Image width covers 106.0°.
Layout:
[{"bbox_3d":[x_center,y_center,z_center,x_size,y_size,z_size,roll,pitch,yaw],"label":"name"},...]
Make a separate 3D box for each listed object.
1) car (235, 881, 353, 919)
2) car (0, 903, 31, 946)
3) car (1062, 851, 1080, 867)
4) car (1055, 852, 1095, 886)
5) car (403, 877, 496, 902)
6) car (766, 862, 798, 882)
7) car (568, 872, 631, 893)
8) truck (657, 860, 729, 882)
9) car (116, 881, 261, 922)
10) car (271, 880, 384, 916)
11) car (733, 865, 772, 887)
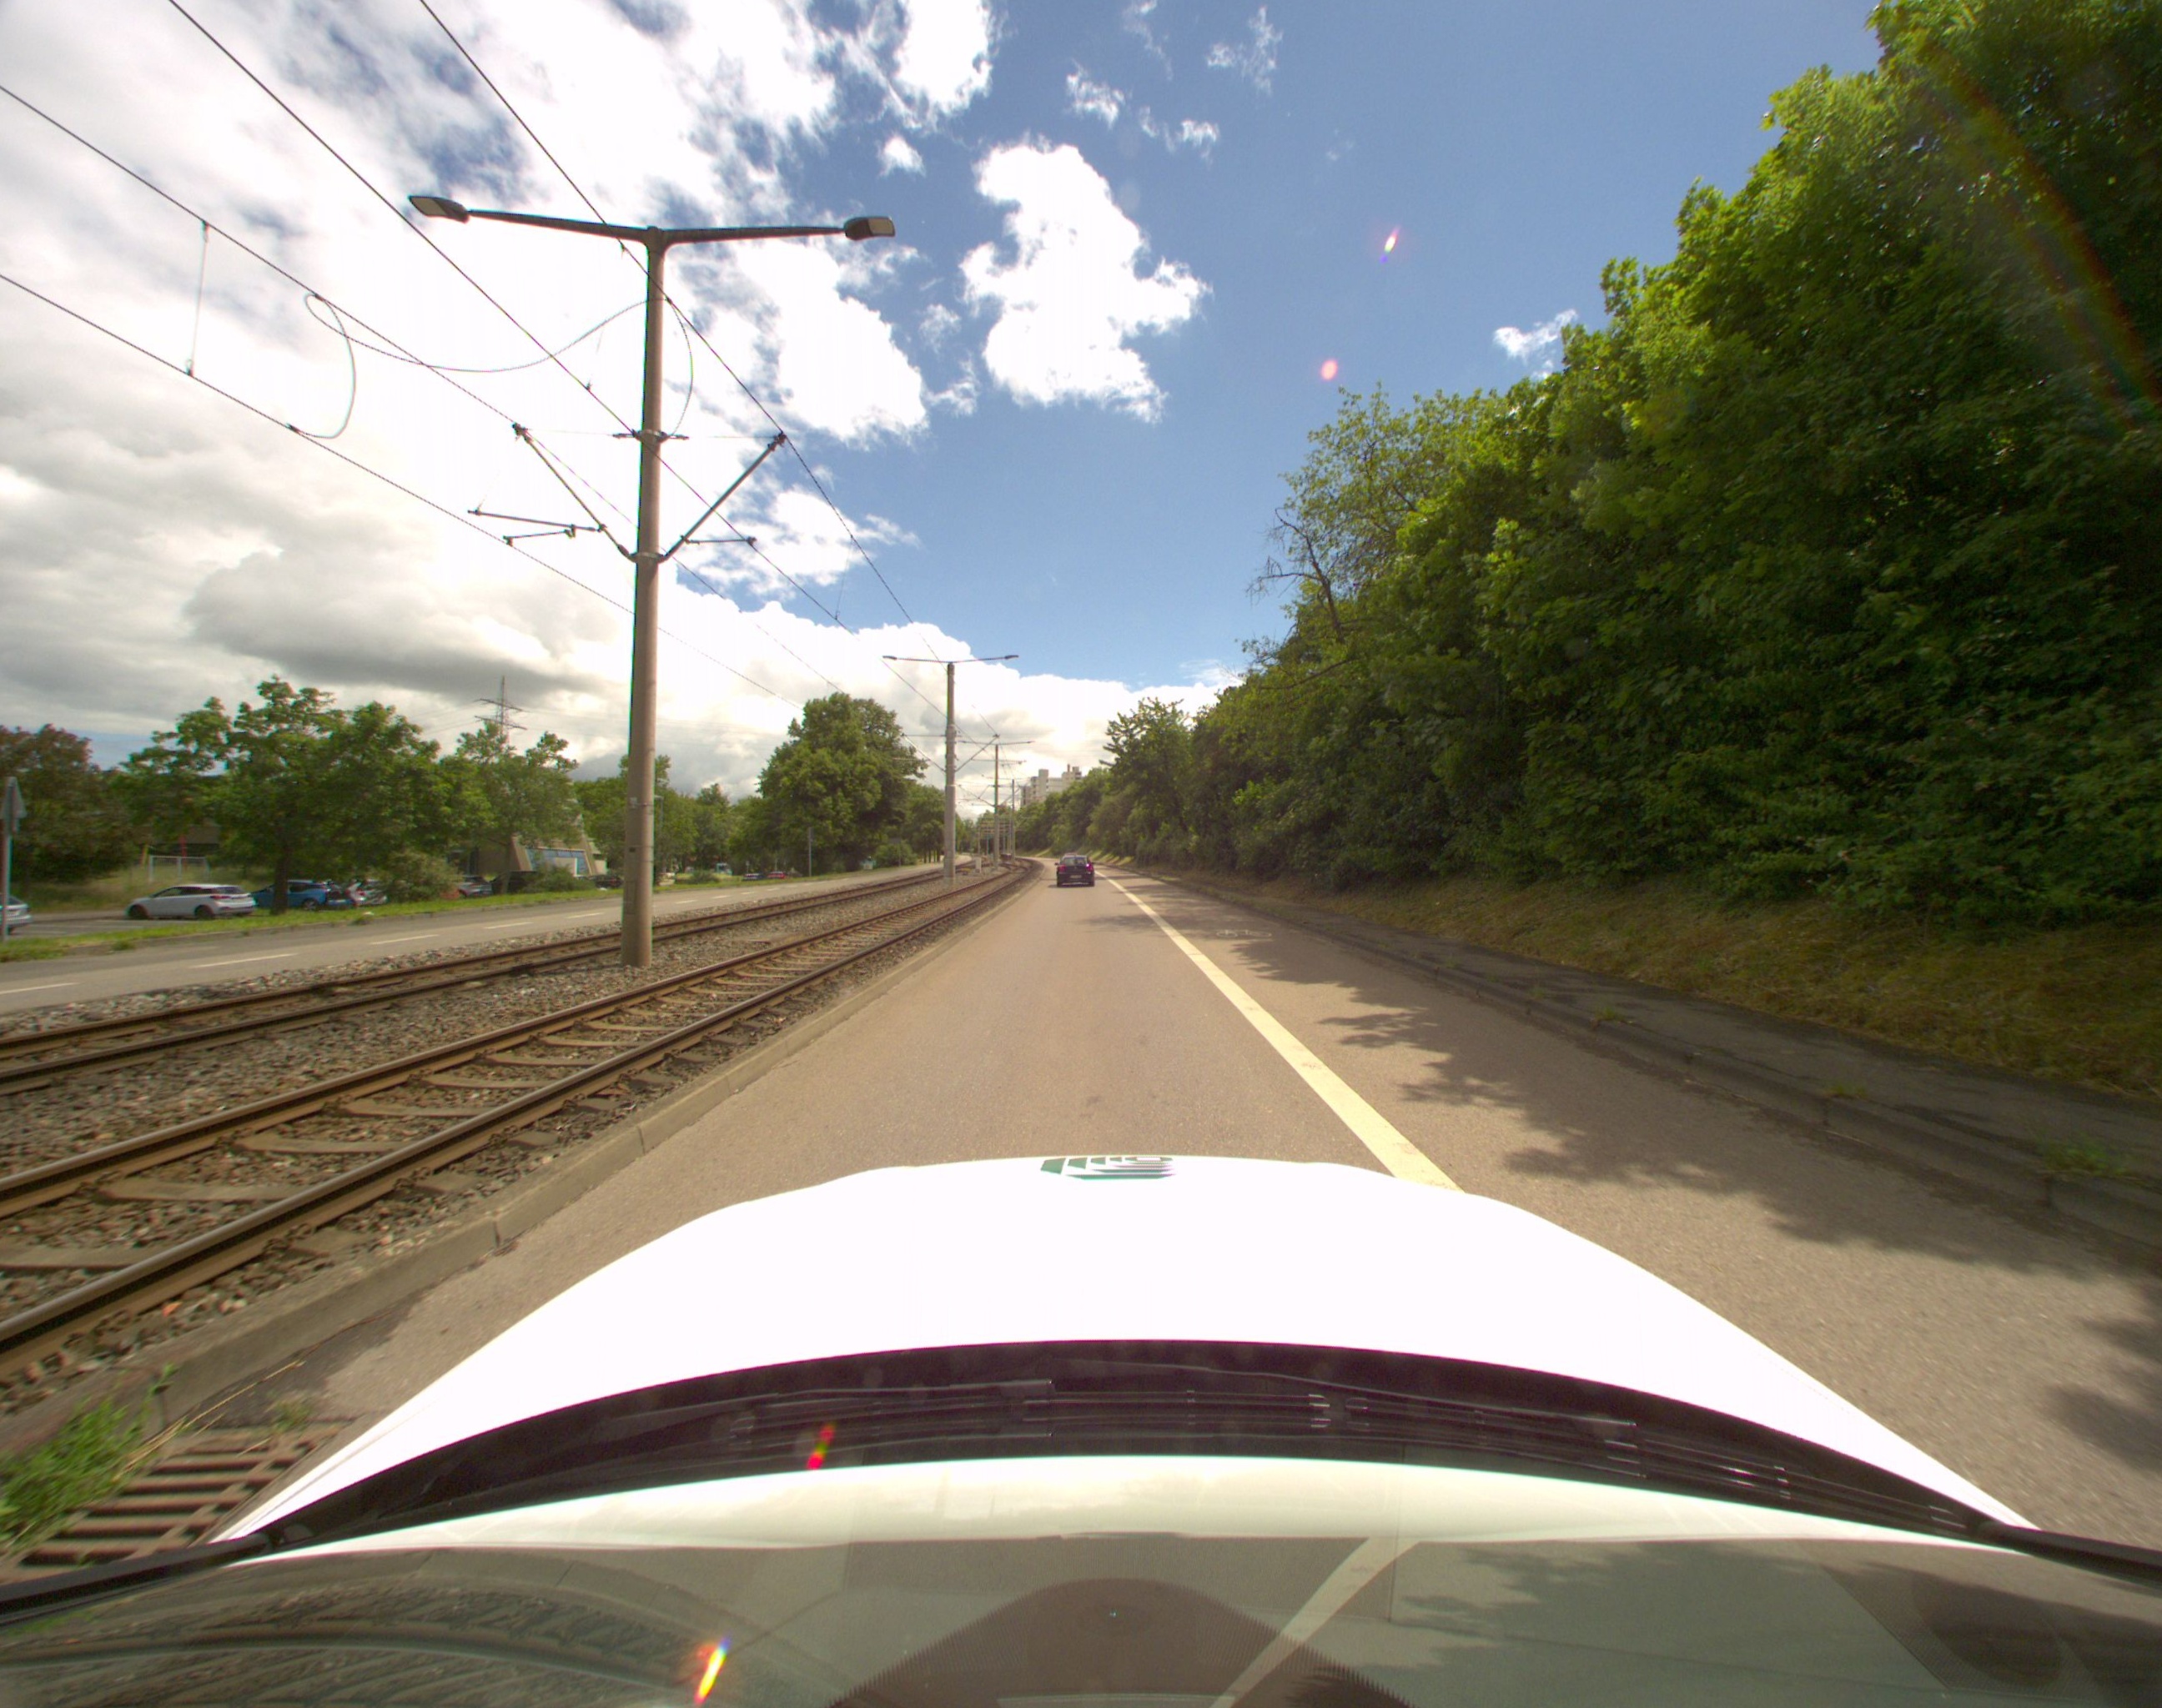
[{"bbox_3d":[-37.650,2.186,38.998,3.936,1.580,1.872,1,1,4],"label":"car"},{"bbox_3d":[-37.636,2.319,27.005,3.850,1.391,1.576,1,-2,6],"label":"car"},{"bbox_3d":[-0.900,0.492,77.278,1.619,1.443,3.420,1,-2,0],"label":"car"},{"bbox_3d":[-0.224,0.674,37.948,1.702,1.460,3.961,1,-1,1],"label":"car"},{"bbox_3d":[-37.679,2.100,48.637,4.063,1.252,1.999,1,1,4],"label":"car"},{"bbox_3d":[-29.023,1.732,79.178,1.812,1.771,3.995,-1,1,-4],"label":"car"},{"bbox_3d":[-38.559,2.279,65.268,3.967,1.599,1.861,1,0,5],"label":"car"},{"bbox_3d":[-56.802,2.442,119.586,9.108,2.695,2.601,-2,0,-16],"label":"truck"},{"bbox_3d":[-37.729,1.999,34.509,3.907,1.580,1.841,1,1,-3],"label":"car"},{"bbox_3d":[-38.181,2.201,41.318,3.936,1.580,1.996,1,1,4],"label":"car"},{"bbox_3d":[-28.919,1.936,71.747,1.810,1.771,3.999,-1,1,0],"label":"car"}]
